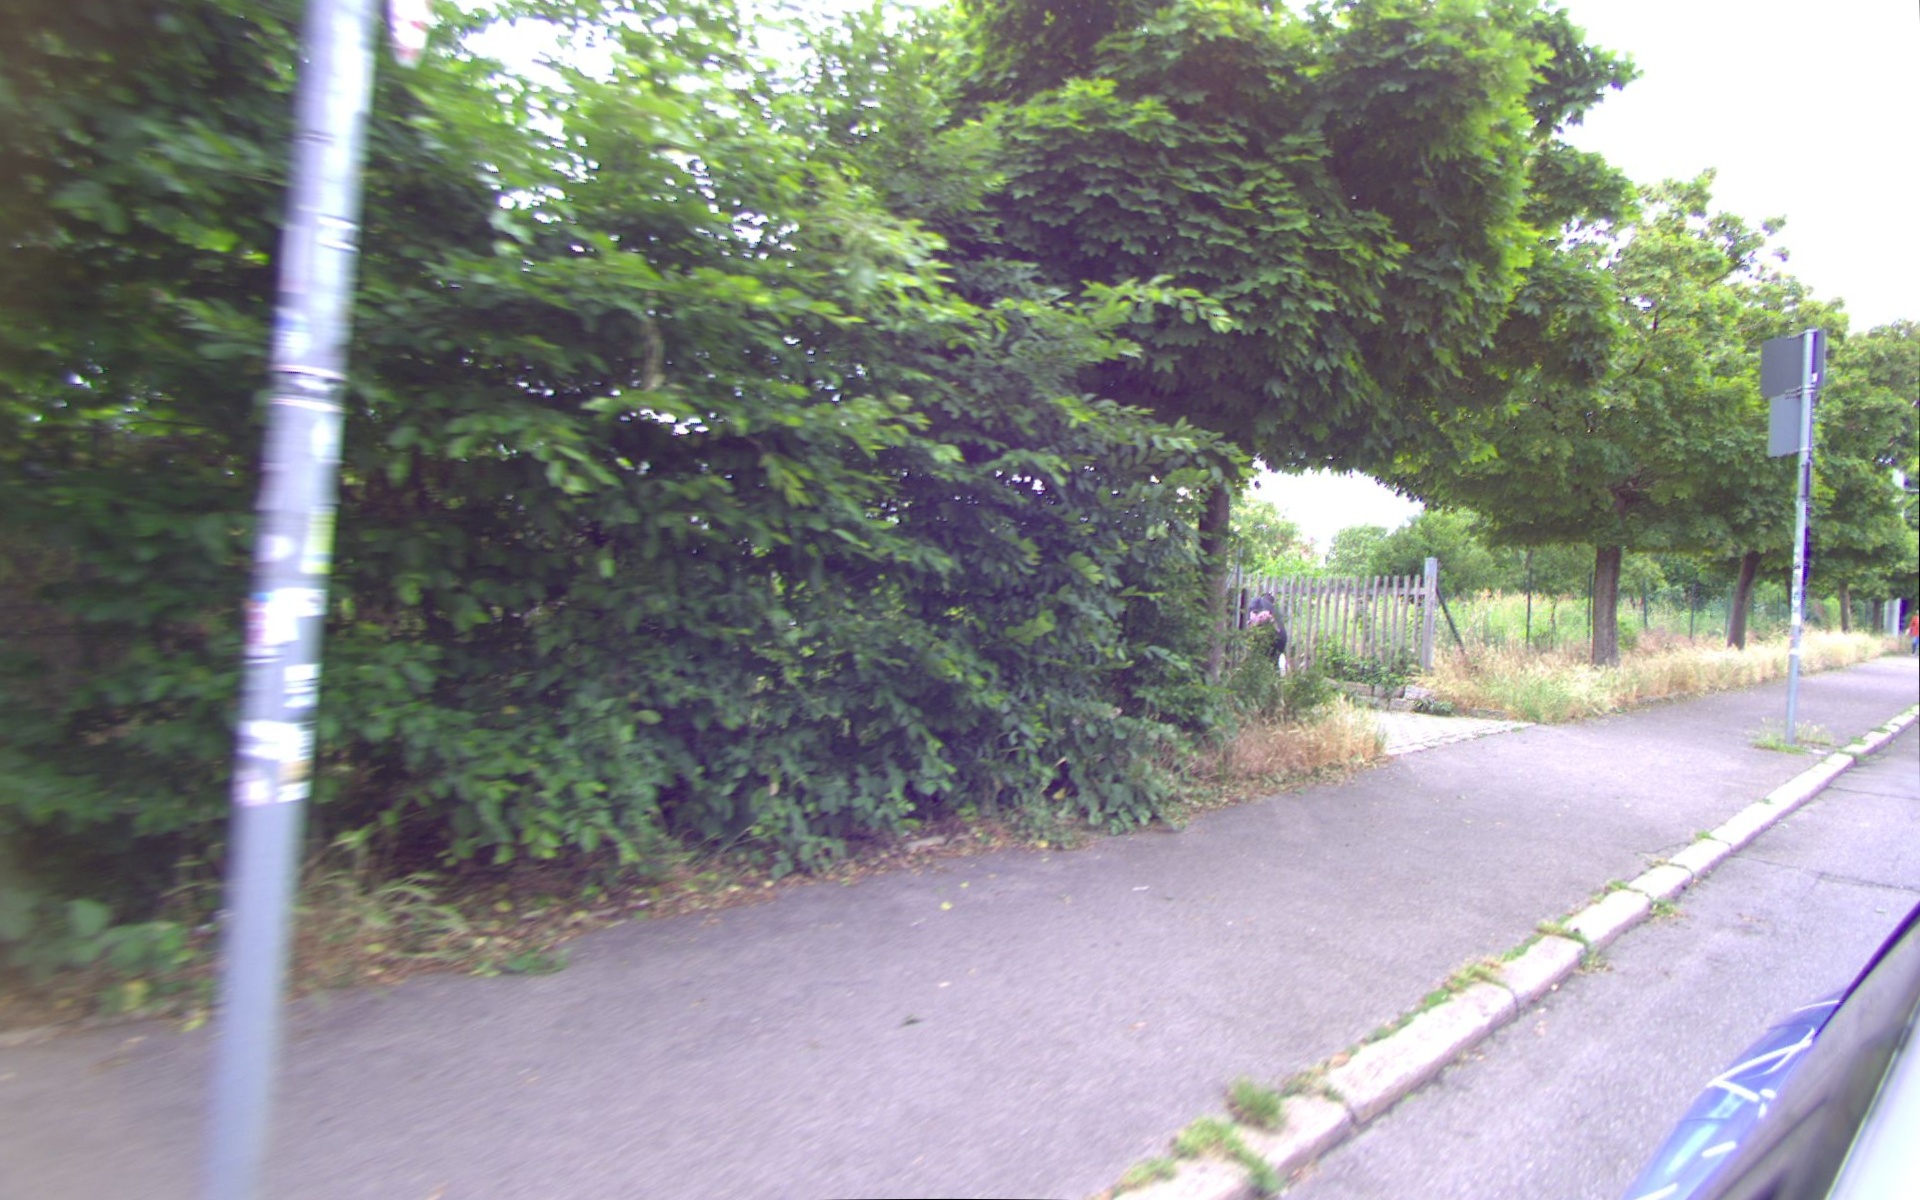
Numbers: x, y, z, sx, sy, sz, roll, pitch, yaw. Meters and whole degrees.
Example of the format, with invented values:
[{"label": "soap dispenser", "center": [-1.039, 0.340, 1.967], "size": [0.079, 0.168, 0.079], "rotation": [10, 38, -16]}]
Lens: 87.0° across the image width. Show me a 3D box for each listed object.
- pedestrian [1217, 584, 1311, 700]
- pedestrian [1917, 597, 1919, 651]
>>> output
[{"label": "pedestrian", "center": [3.704, 0.481, 12.333], "size": [0.794, 1.324, 0.746], "rotation": [0, 2, -40]}, {"label": "pedestrian", "center": [29.975, 0.749, 31.106], "size": [0.706, 1.640, 0.716], "rotation": [0, 2, -41]}]
